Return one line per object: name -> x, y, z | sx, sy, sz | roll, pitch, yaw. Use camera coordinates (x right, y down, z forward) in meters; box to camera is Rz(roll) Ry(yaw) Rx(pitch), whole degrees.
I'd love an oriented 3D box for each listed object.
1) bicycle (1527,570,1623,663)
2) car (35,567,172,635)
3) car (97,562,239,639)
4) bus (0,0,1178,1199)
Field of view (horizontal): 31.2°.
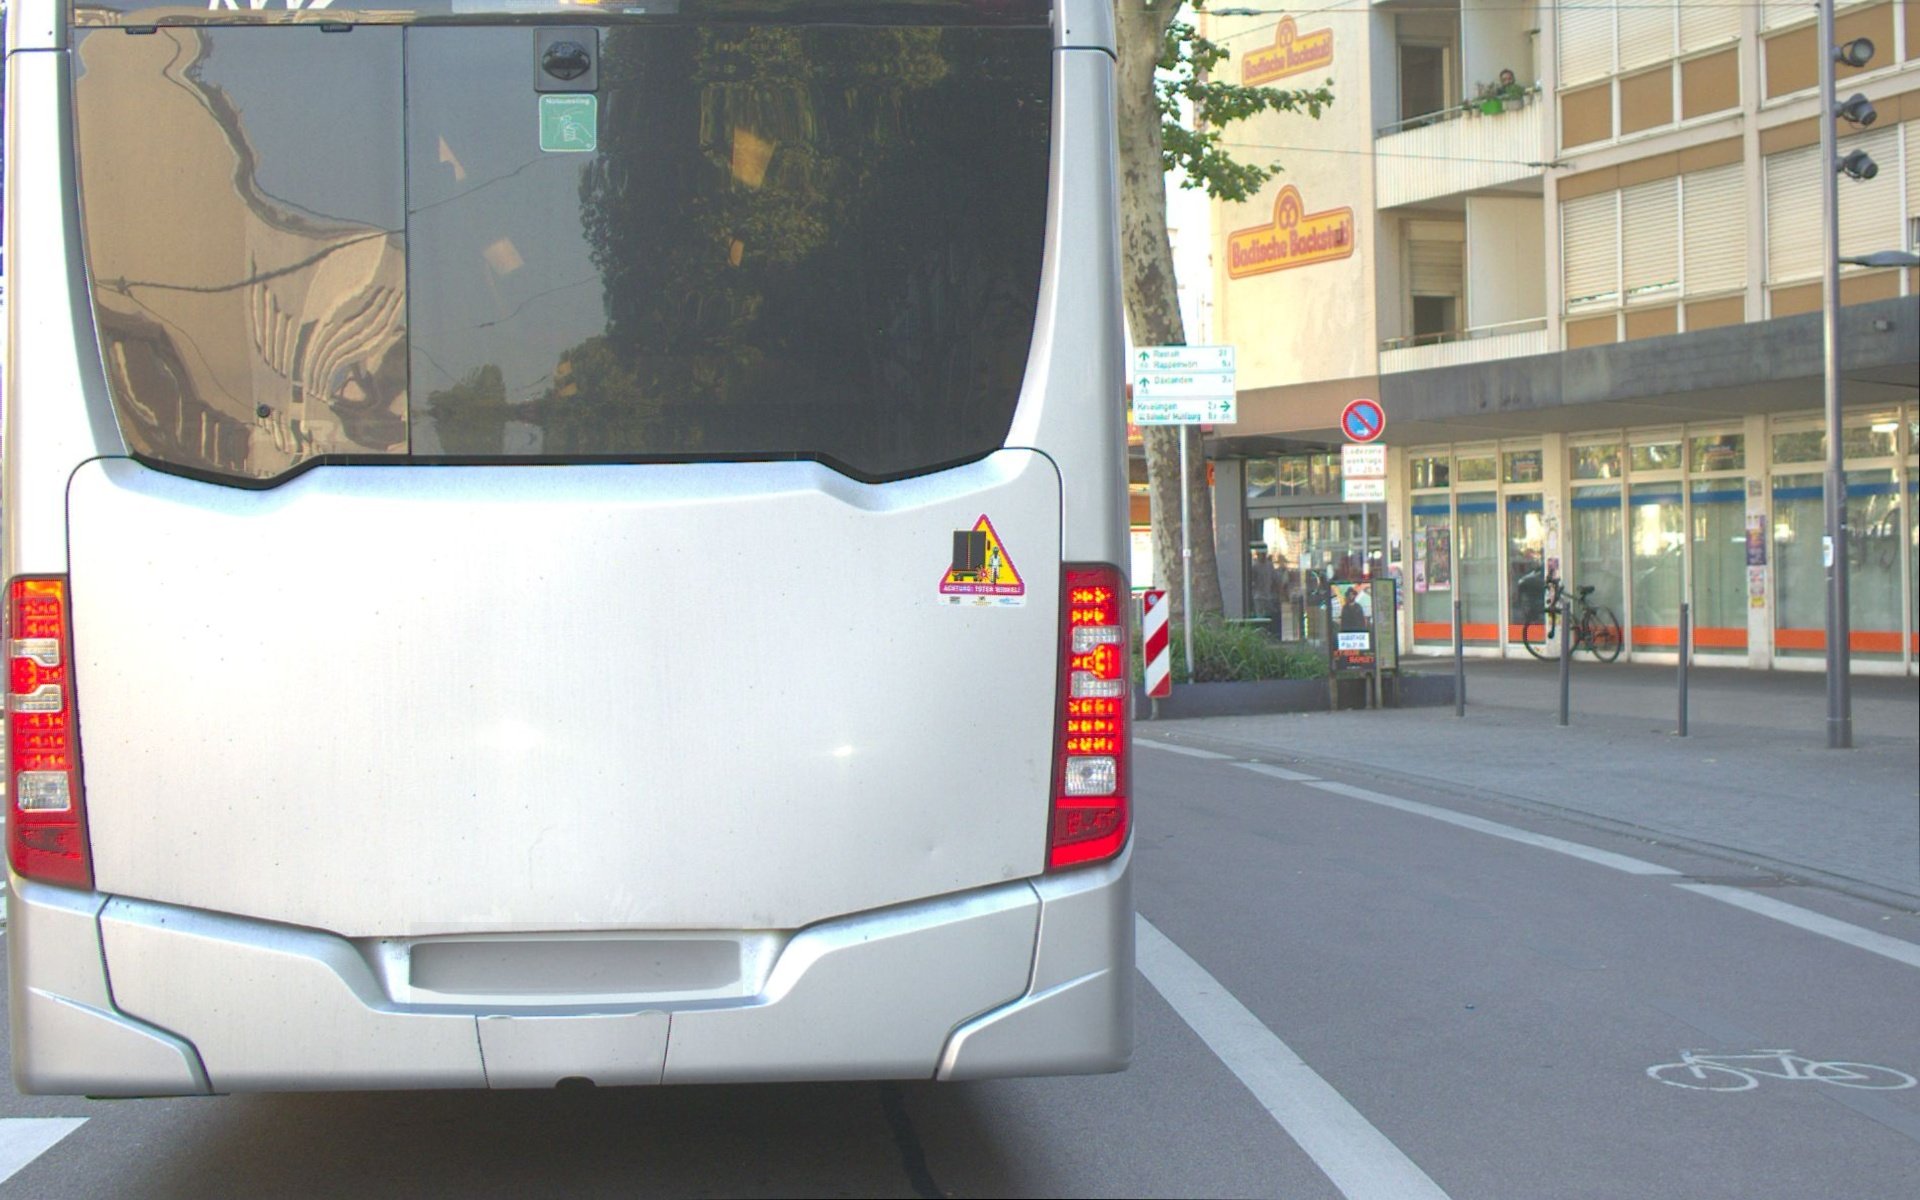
bicycle -> 7.502, 0.187, 41.972 | 0.437, 1.089, 1.462 | -3, 2, -20
car -> -19.356, 0.007, 77.644 | 1.663, 1.390, 3.411 | -5, 4, -38
car -> -17.096, -0.001, 74.125 | 1.662, 1.511, 3.412 | -5, 3, -36
bus -> -1.211, -0.201, 12.394 | 2.657, 3.088, 10.217 | -1, 0, -4
